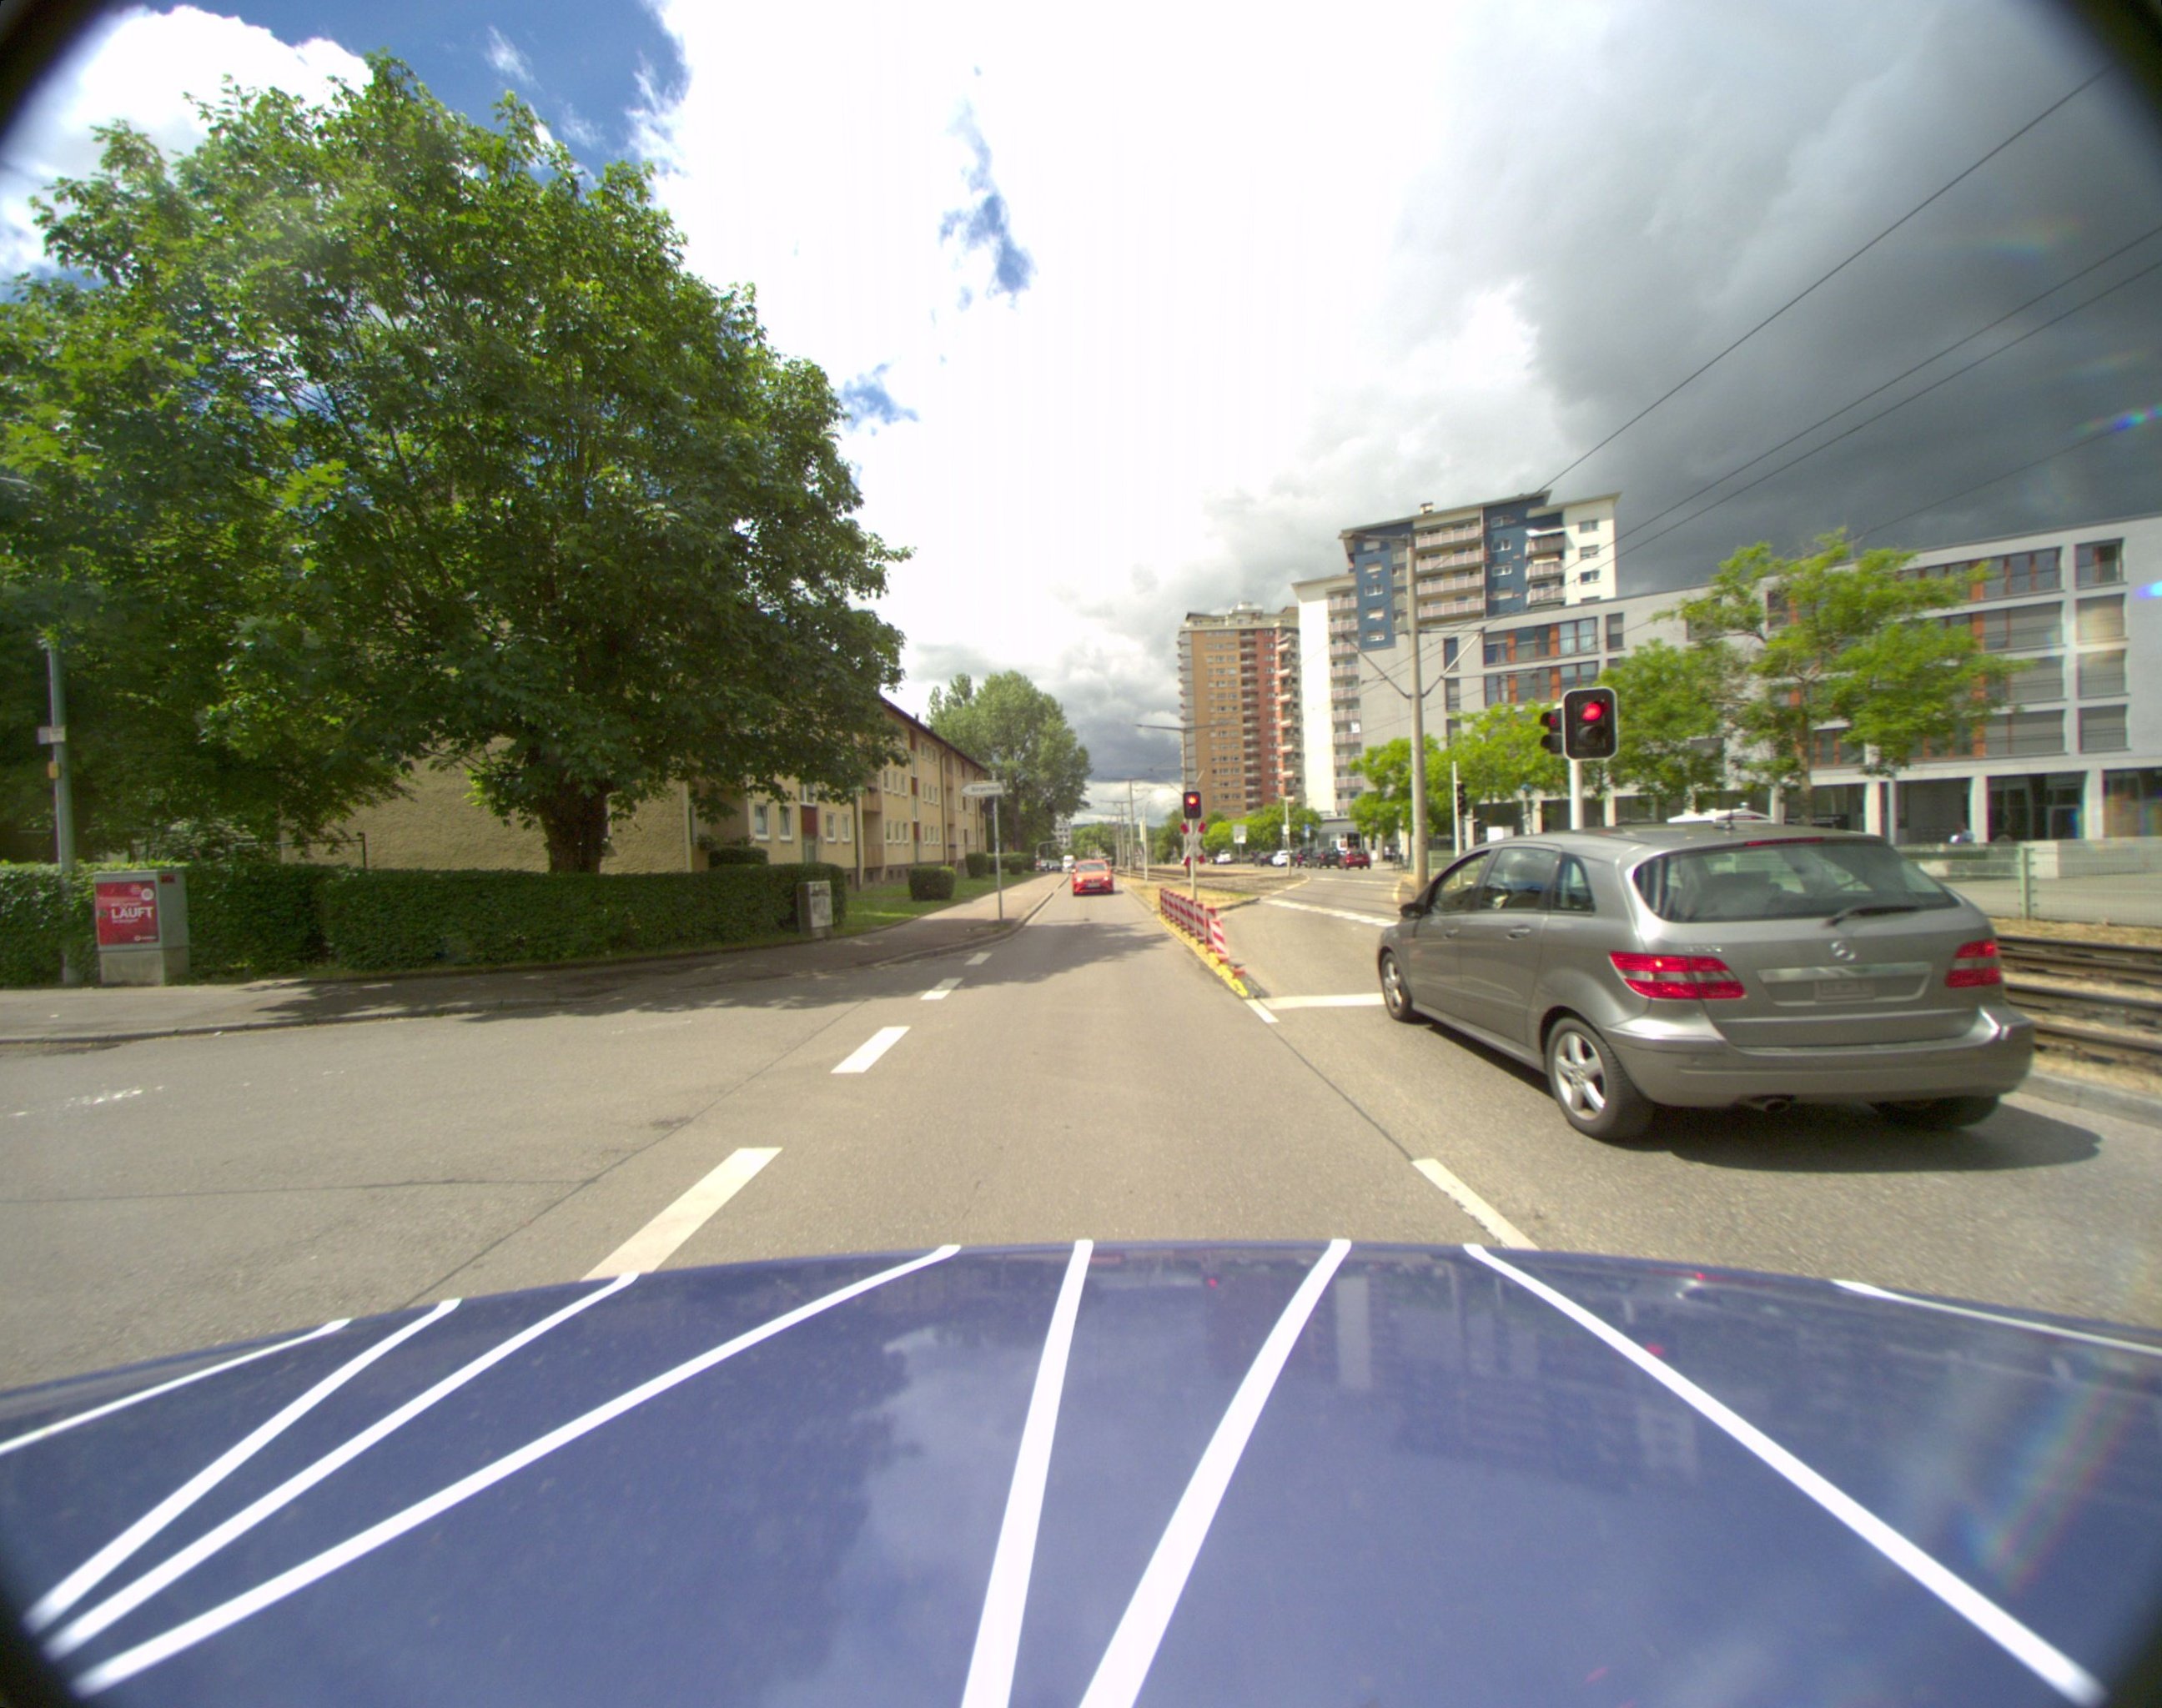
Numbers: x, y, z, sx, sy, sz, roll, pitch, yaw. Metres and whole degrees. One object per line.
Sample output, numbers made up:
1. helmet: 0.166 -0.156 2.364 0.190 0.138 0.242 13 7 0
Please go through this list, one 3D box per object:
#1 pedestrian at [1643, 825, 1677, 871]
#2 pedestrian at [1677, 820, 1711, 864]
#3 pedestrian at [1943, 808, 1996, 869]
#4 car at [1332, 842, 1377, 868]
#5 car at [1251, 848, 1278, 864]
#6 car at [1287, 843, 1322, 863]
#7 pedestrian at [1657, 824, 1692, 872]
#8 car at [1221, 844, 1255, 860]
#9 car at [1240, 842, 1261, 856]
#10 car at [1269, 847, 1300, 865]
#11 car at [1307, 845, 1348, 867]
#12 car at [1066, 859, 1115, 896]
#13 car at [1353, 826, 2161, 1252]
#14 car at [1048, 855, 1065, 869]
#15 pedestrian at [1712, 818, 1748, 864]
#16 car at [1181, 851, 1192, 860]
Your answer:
1. pedestrian: 21.012 -0.216 27.572 0.749 1.644 0.538 -3 1 1
2. pedestrian: 28.607 -0.557 35.445 0.734 2.002 0.910 -3 1 -16
3. pedestrian: 24.135 -0.413 20.647 0.538 1.601 0.748 -3 1 -21
4. car: 18.386 0.055 51.269 1.893 1.613 3.805 -3 0 5
5. car: 18.553 0.212 76.827 1.781 1.530 3.803 -3 0 1
6. car: 18.670 -0.075 63.668 1.781 1.530 3.803 -3 0 1
7. pedestrian: 20.956 -0.198 26.832 0.749 1.644 0.538 -3 1 1
8. car: 20.900 -0.258 101.201 4.504 1.914 1.877 -3 1 -39
9. car: 21.627 -0.647 96.796 1.781 1.650 3.803 -3 0 1
10. car: 18.740 0.167 70.140 1.781 1.530 3.803 -3 0 1
11. car: 18.656 0.139 57.615 1.893 1.530 3.804 -3 0 2
12. car: 0.462 0.972 31.661 1.791 1.387 4.244 -3 -2 3
13. car: 3.442 0.745 5.133 1.861 1.650 4.176 -3 0 3
14. car: -3.036 0.971 95.220 1.843 1.648 3.789 -3 0 1
15. pedestrian: 29.202 -0.584 34.202 0.734 2.002 0.910 -3 1 -16
16. car: 18.832 0.333 135.547 1.780 1.491 3.805 -3 0 6
